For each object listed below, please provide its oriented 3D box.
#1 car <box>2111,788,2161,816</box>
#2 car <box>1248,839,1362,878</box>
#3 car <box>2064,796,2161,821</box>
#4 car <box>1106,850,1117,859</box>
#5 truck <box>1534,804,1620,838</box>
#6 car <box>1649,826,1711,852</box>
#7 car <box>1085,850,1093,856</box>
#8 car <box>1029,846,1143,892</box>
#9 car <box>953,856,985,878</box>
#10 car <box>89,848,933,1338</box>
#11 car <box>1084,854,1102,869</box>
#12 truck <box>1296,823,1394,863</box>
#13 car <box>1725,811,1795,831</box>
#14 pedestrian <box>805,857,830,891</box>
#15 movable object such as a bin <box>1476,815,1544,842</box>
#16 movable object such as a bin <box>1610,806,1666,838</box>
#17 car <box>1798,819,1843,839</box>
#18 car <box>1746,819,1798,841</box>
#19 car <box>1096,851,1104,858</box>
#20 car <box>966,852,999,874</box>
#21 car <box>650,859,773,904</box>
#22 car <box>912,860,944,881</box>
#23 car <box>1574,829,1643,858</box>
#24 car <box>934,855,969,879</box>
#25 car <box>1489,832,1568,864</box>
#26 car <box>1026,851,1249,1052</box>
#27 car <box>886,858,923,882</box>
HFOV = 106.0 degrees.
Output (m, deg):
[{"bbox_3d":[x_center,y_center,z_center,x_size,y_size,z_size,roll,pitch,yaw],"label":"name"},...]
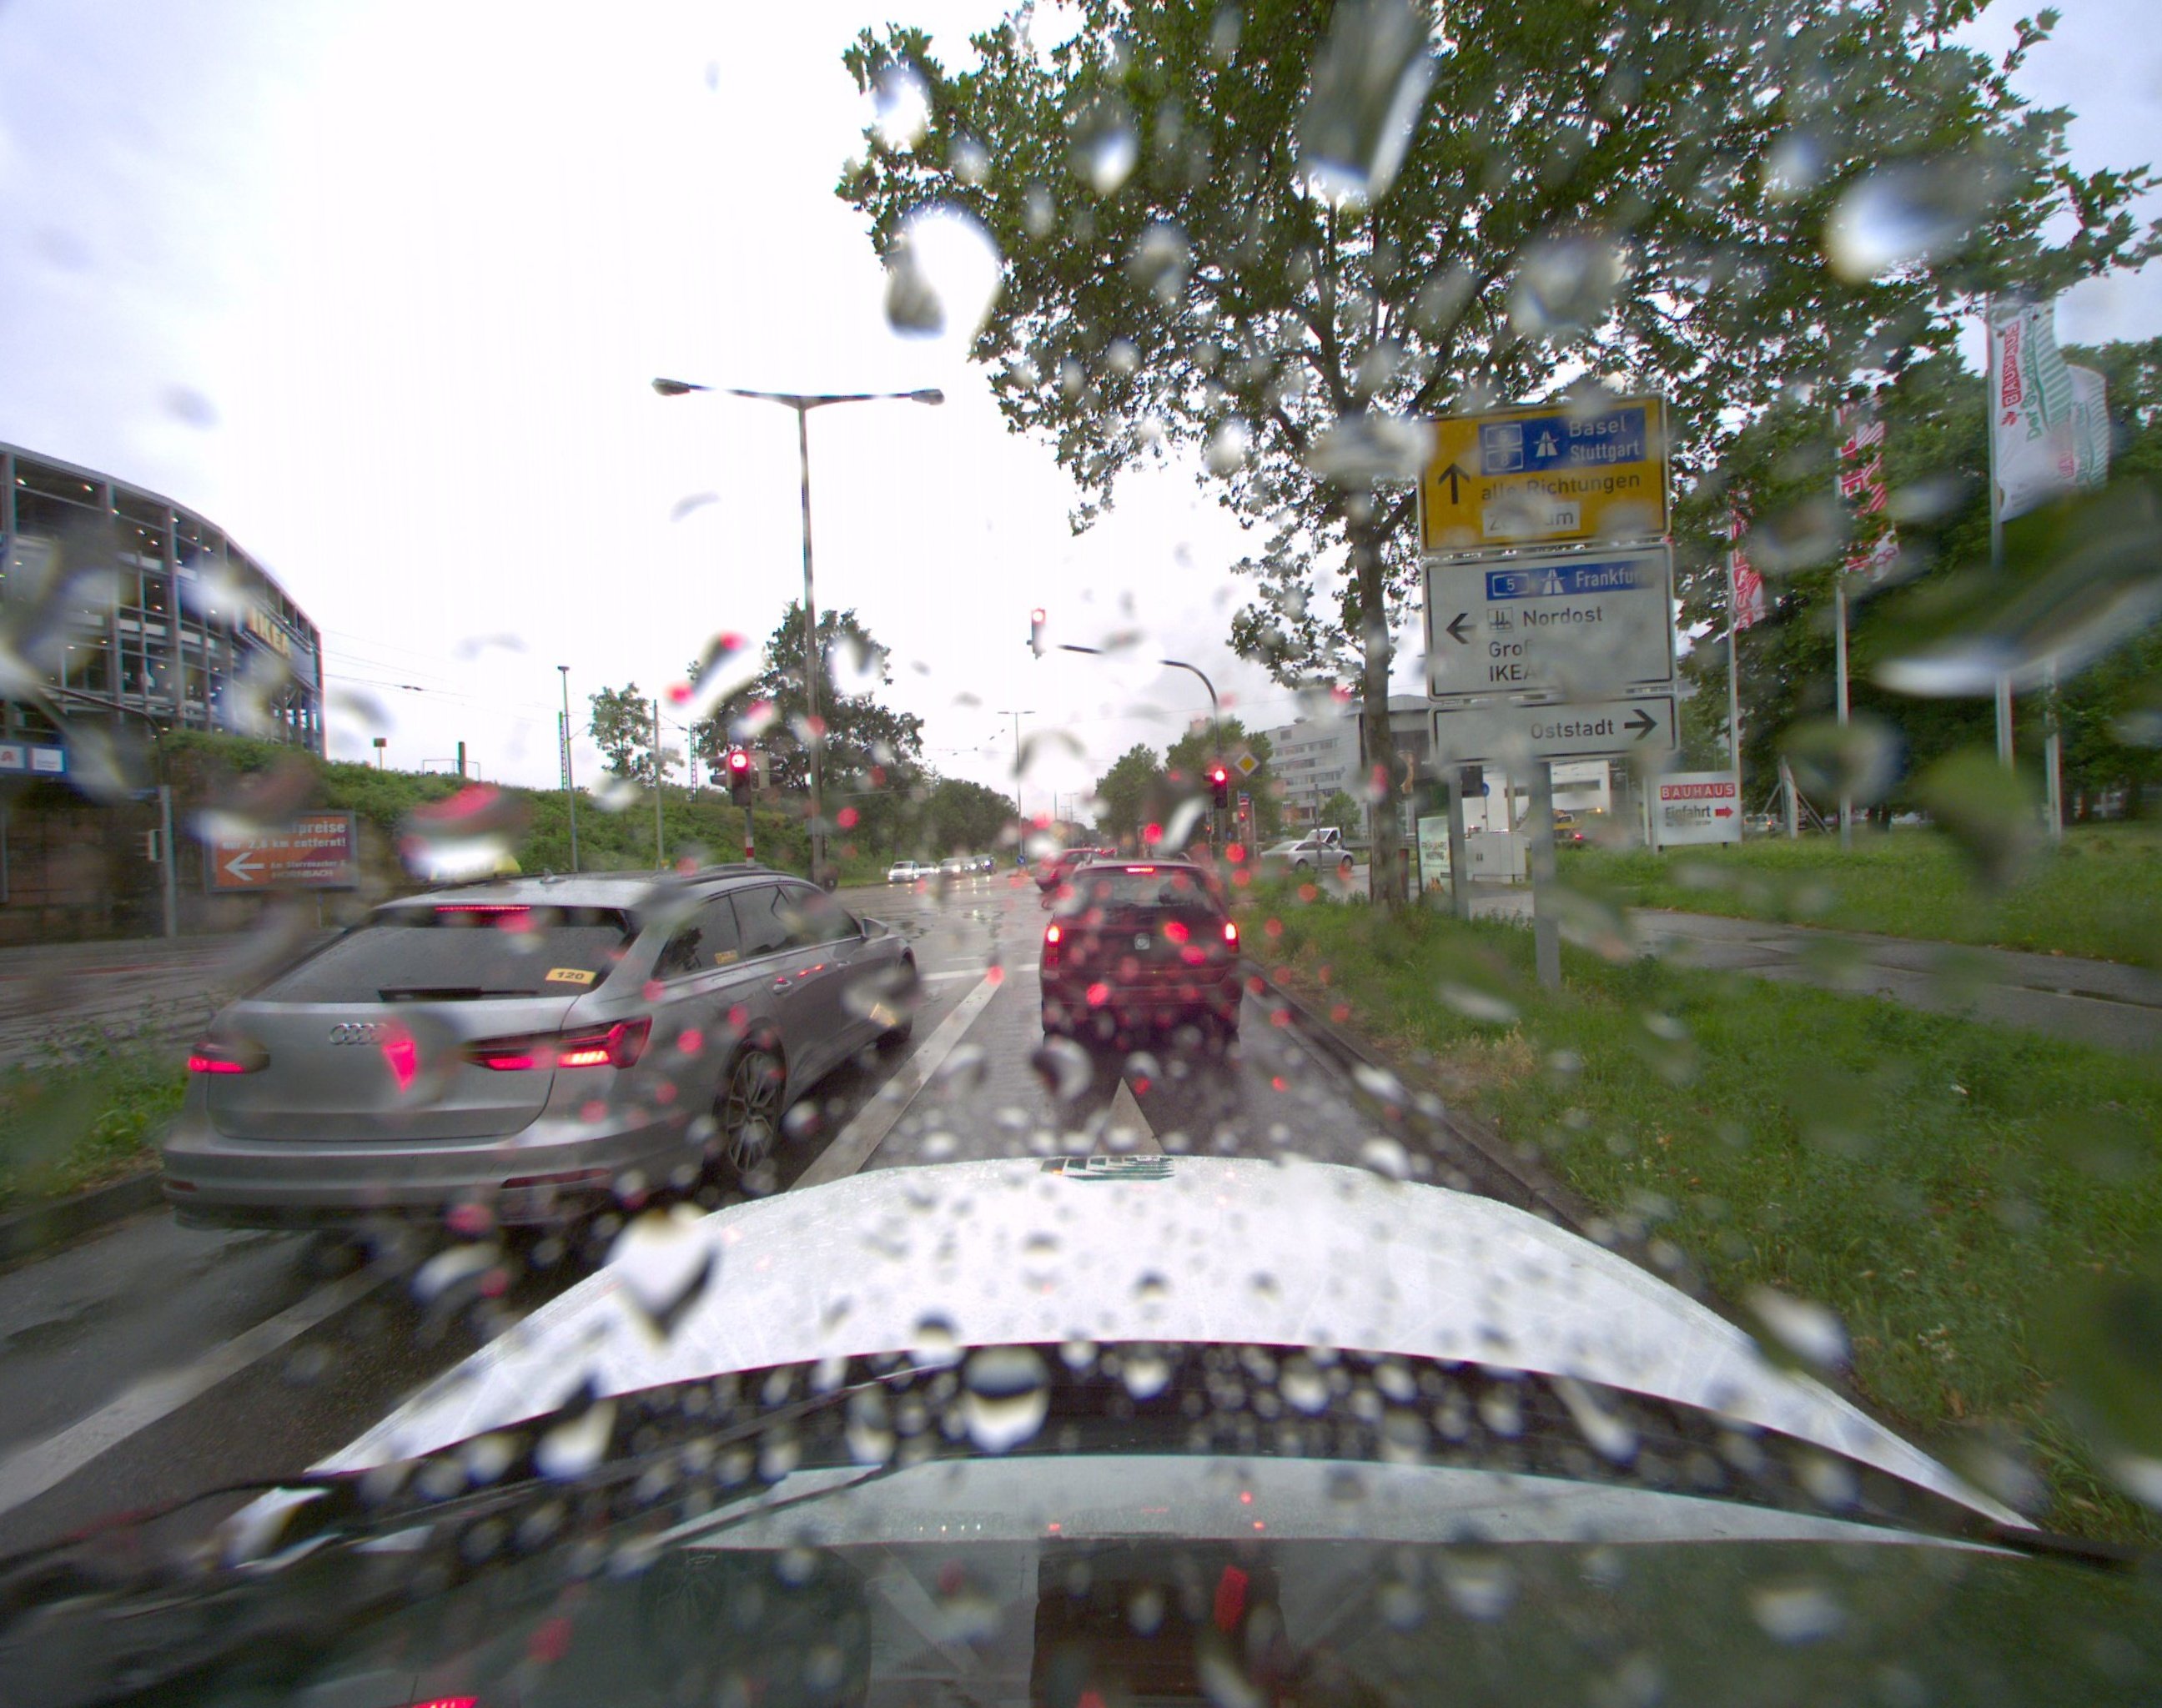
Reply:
[{"bbox_3d":[82.592,-4.035,62.548,1.772,2.049,4.237,-2,1,-36],"label":"car"},{"bbox_3d":[9.735,0.181,35.285,4.846,1.491,1.908,-2,0,-31],"label":"car"},{"bbox_3d":[88.542,-3.896,69.323,2.286,1.731,5.899,-3,0,-33],"label":"car"},{"bbox_3d":[5.515,0.166,147.000,1.664,1.528,3.849,-3,0,3],"label":"car"},{"bbox_3d":[57.974,-3.822,95.395,3.342,3.507,7.806,-3,0,-33],"label":"truck"},{"bbox_3d":[40.961,-1.041,55.655,4.645,1.586,1.907,-2,-1,-34],"label":"car"},{"bbox_3d":[1.983,-0.281,202.588,1.691,1.528,3.849,-3,0,3],"label":"car"},{"bbox_3d":[0.191,0.509,29.642,3.829,1.491,1.662,-2,0,-31],"label":"car"},{"bbox_3d":[-8.731,0.991,63.698,1.756,1.586,4.813,-3,-1,0],"label":"car"},{"bbox_3d":[-2.283,0.760,5.046,1.763,1.574,4.822,0,0,1],"label":"car"},{"bbox_3d":[1.482,0.953,99.965,1.988,1.790,3.997,0,-1,-2],"label":"car"},{"bbox_3d":[17.488,-0.736,53.732,6.897,2.365,2.455,-3,0,-35],"label":"truck"},{"bbox_3d":[67.448,-3.261,80.940,1.888,1.655,5.008,0,-1,-32],"label":"car"},{"bbox_3d":[-14.948,1.103,46.216,1.102,1.847,1.126,-3,0,-10],"label":"pedestrian"},{"bbox_3d":[53.775,-3.171,102.177,3.342,2.995,6.650,-3,0,-34],"label":"movable object such as a bin"},{"bbox_3d":[66.851,-3.832,97.665,6.347,3.507,3.293,-3,0,-34],"label":"movable object such as a bin"},{"bbox_3d":[65.789,-2.241,72.410,4.645,1.586,1.907,-2,-1,-34],"label":"car"},{"bbox_3d":[54.138,-1.893,63.754,4.645,1.586,1.907,-2,-1,-34],"label":"car"},{"bbox_3d":[4.590,0.143,193.031,1.691,1.528,3.849,-3,0,3],"label":"car"},{"bbox_3d":[-8.598,0.757,71.799,2.058,1.819,5.542,-3,0,1],"label":"car"},{"bbox_3d":[-14.953,1.072,33.075,4.264,1.559,1.728,-3,0,-35],"label":"car"},{"bbox_3d":[-11.571,1.220,61.884,1.585,1.404,3.823,-3,0,1],"label":"car"},{"bbox_3d":[32.306,-0.660,49.827,4.645,1.586,1.906,-2,-1,-35],"label":"car"},{"bbox_3d":[-8.944,0.870,56.537,1.632,1.473,3.966,-3,0,1],"label":"car"},{"bbox_3d":[25.011,-0.347,45.510,4.644,1.586,1.907,-2,-1,-34],"label":"car"},{"bbox_3d":[0.451,0.713,7.889,1.636,1.465,3.733,0,0,1],"label":"car"},{"bbox_3d":[-11.974,1.060,55.564,1.633,1.452,3.786,-3,0,0],"label":"car"}]
